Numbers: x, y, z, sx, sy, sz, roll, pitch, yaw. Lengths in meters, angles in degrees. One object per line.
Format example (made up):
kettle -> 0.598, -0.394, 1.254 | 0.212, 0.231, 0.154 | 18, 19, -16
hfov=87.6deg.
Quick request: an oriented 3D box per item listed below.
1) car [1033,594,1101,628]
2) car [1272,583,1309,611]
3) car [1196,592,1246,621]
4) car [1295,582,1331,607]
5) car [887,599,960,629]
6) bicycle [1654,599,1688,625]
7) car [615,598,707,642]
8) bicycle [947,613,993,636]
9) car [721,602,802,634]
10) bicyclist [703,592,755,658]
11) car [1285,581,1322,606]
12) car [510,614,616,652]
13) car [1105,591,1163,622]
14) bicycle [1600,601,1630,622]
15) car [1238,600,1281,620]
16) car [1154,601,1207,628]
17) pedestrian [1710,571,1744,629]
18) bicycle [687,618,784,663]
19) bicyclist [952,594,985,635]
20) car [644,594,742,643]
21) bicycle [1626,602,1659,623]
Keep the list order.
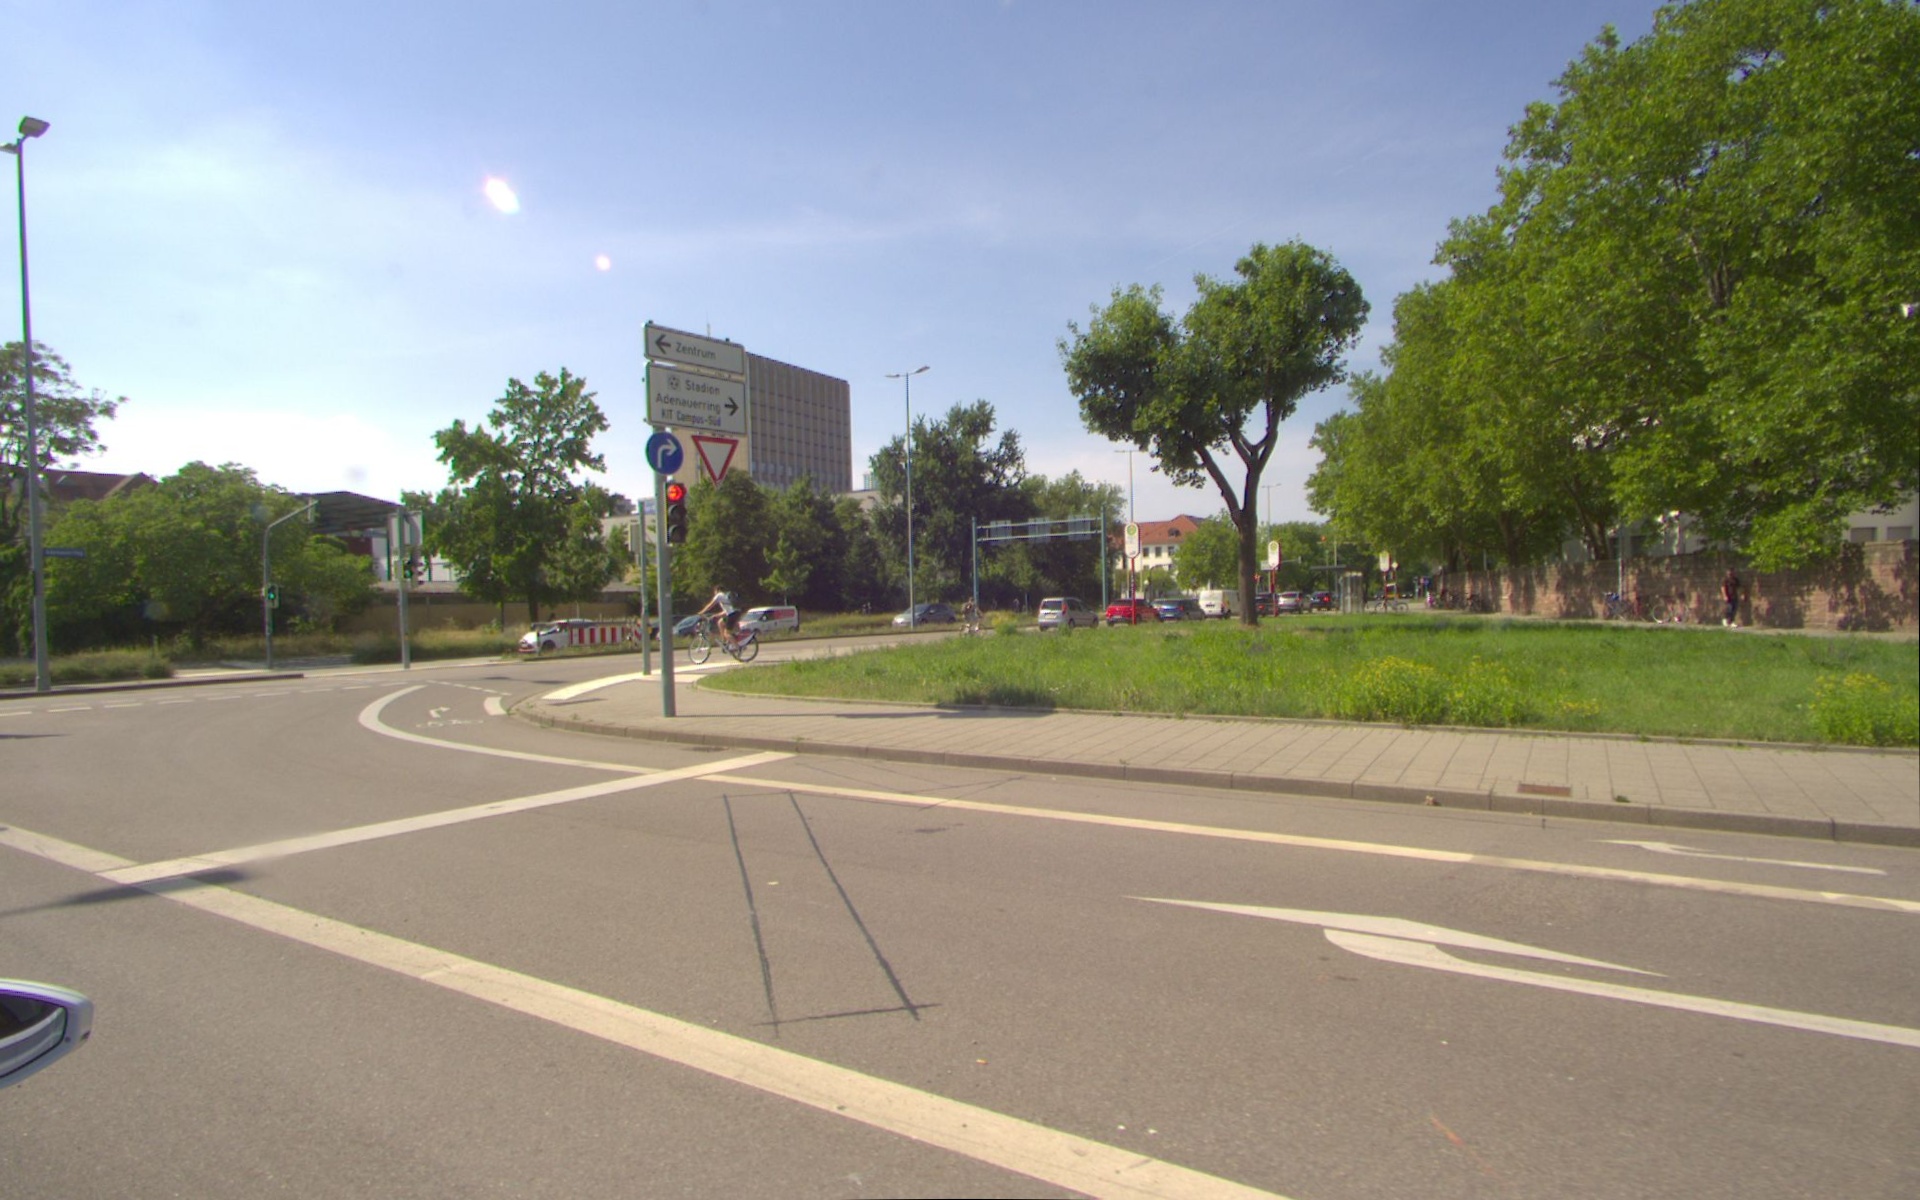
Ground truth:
car -> 5.245, 0.512, 48.902 | 1.727, 1.528, 3.978 | -1, 1, 32
car -> 26.180, -0.253, 79.351 | 1.971, 2.040, 3.980 | -1, 1, 30
car -> 17.218, 0.416, 65.831 | 1.729, 1.781, 4.403 | -1, 1, 36
car -> 30.489, -0.508, 86.377 | 1.973, 2.040, 3.976 | -1, 1, 34
car -> -1.903, 0.722, 53.591 | 1.619, 1.424, 4.080 | -3, -1, 37
bicycle -> 24.426, 0.393, 34.418 | 0.365, 0.867, 1.307 | -1, 1, 7
car -> -14.741, 0.964, 49.547 | 1.973, 2.040, 3.975 | -1, 1, 34
bicycle -> 0.381, 0.903, 37.299 | 0.554, 0.803, 1.878 | 1, 2, 44
car -> -10.743, 0.961, 54.547 | 1.883, 1.590, 4.301 | -1, 1, 32
bicyclist -> -5.303, 0.569, 23.009 | 1.121, 1.489, 0.496 | -1, -1, -12
car -> 28.592, -0.548, 83.378 | 1.973, 2.040, 3.976 | -1, 1, 34
car -> -17.636, 1.444, 44.623 | 1.972, 1.483, 3.978 | -2, 0, 32
car -> 9.501, 0.381, 54.412 | 1.727, 1.527, 3.981 | -1, -3, 32
bicycle -> 24.568, 0.432, 37.571 | 0.334, 0.738, 1.364 | -1, 1, 5
car -> 21.517, 0.696, 71.873 | 1.729, 1.357, 3.973 | -1, 1, 36
car -> 13.355, 0.856, 60.457 | 1.729, 1.493, 3.973 | -1, 1, 36
pedestrian -> 23.756, -0.007, 31.020 | 0.608, 1.763, 0.599 | -1, 1, 3
bicycle -> -5.139, 0.918, 23.061 | 2.128, 0.928, 0.674 | -2, 1, -11
bicyclist -> 0.337, 0.545, 37.272 | 0.558, 1.494, 1.158 | 0, 1, 44
car -> -12.368, 0.832, 46.609 | 1.976, 2.039, 3.971 | -3, -1, 37
bicycle -> 24.560, 0.448, 36.054 | 0.334, 0.738, 1.364 | -1, 1, 5
